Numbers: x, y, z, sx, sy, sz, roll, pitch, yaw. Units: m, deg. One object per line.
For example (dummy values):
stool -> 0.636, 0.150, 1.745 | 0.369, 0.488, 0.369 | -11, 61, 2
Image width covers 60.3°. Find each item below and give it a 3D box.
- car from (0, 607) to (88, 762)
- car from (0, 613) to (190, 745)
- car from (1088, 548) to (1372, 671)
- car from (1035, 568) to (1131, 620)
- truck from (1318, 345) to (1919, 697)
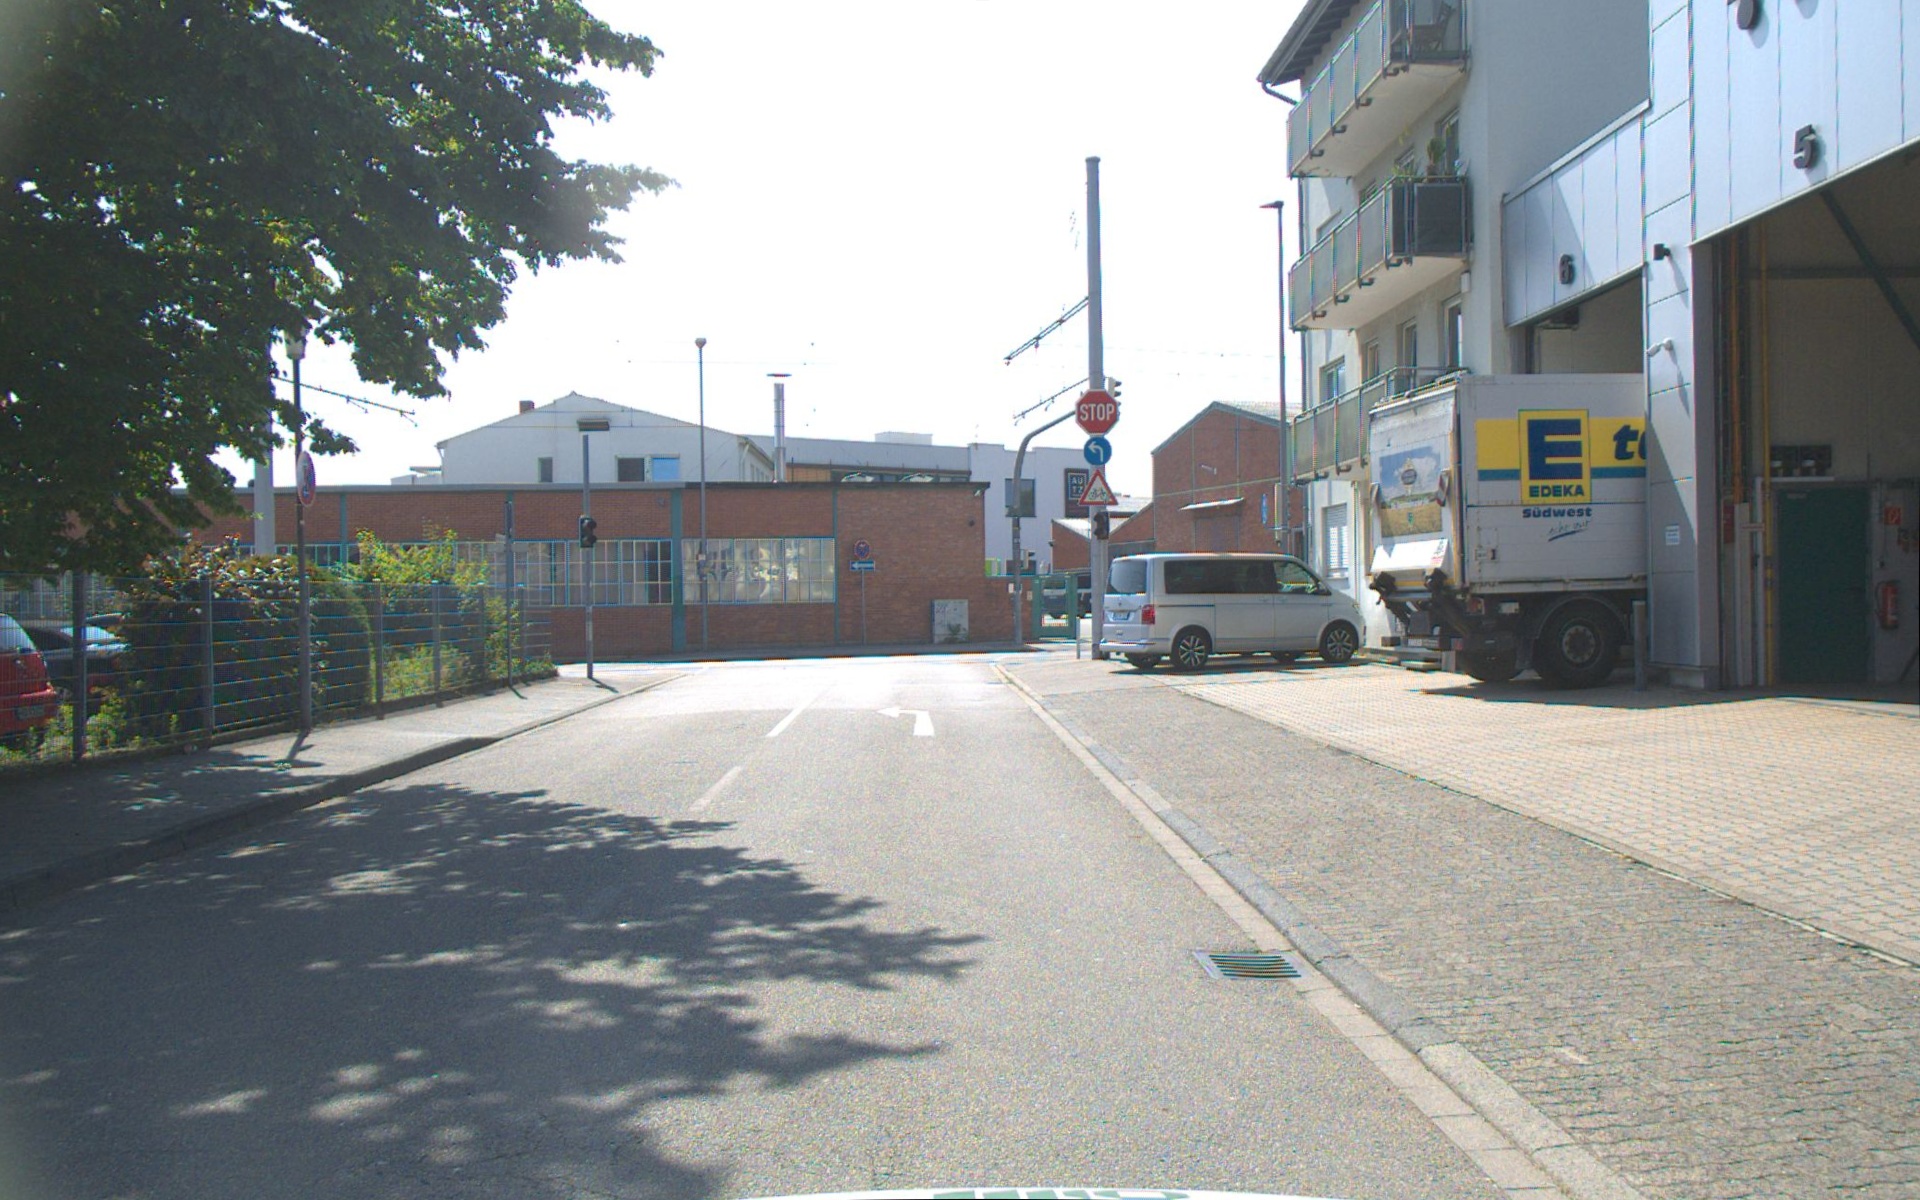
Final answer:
car -> -11.232, 0.863, 16.991 | 3.586, 1.503, 1.735 | -1, 0, -2
car -> -11.633, 0.949, 20.238 | 3.583, 1.503, 1.737 | -1, 0, 4
car -> 4.725, 0.139, 28.990 | 4.587, 1.992, 1.905 | -1, 0, -21
car -> 5.521, -0.272, 74.053 | 3.952, 2.228, 1.977 | -1, 0, -34
truck -> 8.527, -0.992, 20.728 | 7.222, 3.708, 2.763 | -4, 0, -8
